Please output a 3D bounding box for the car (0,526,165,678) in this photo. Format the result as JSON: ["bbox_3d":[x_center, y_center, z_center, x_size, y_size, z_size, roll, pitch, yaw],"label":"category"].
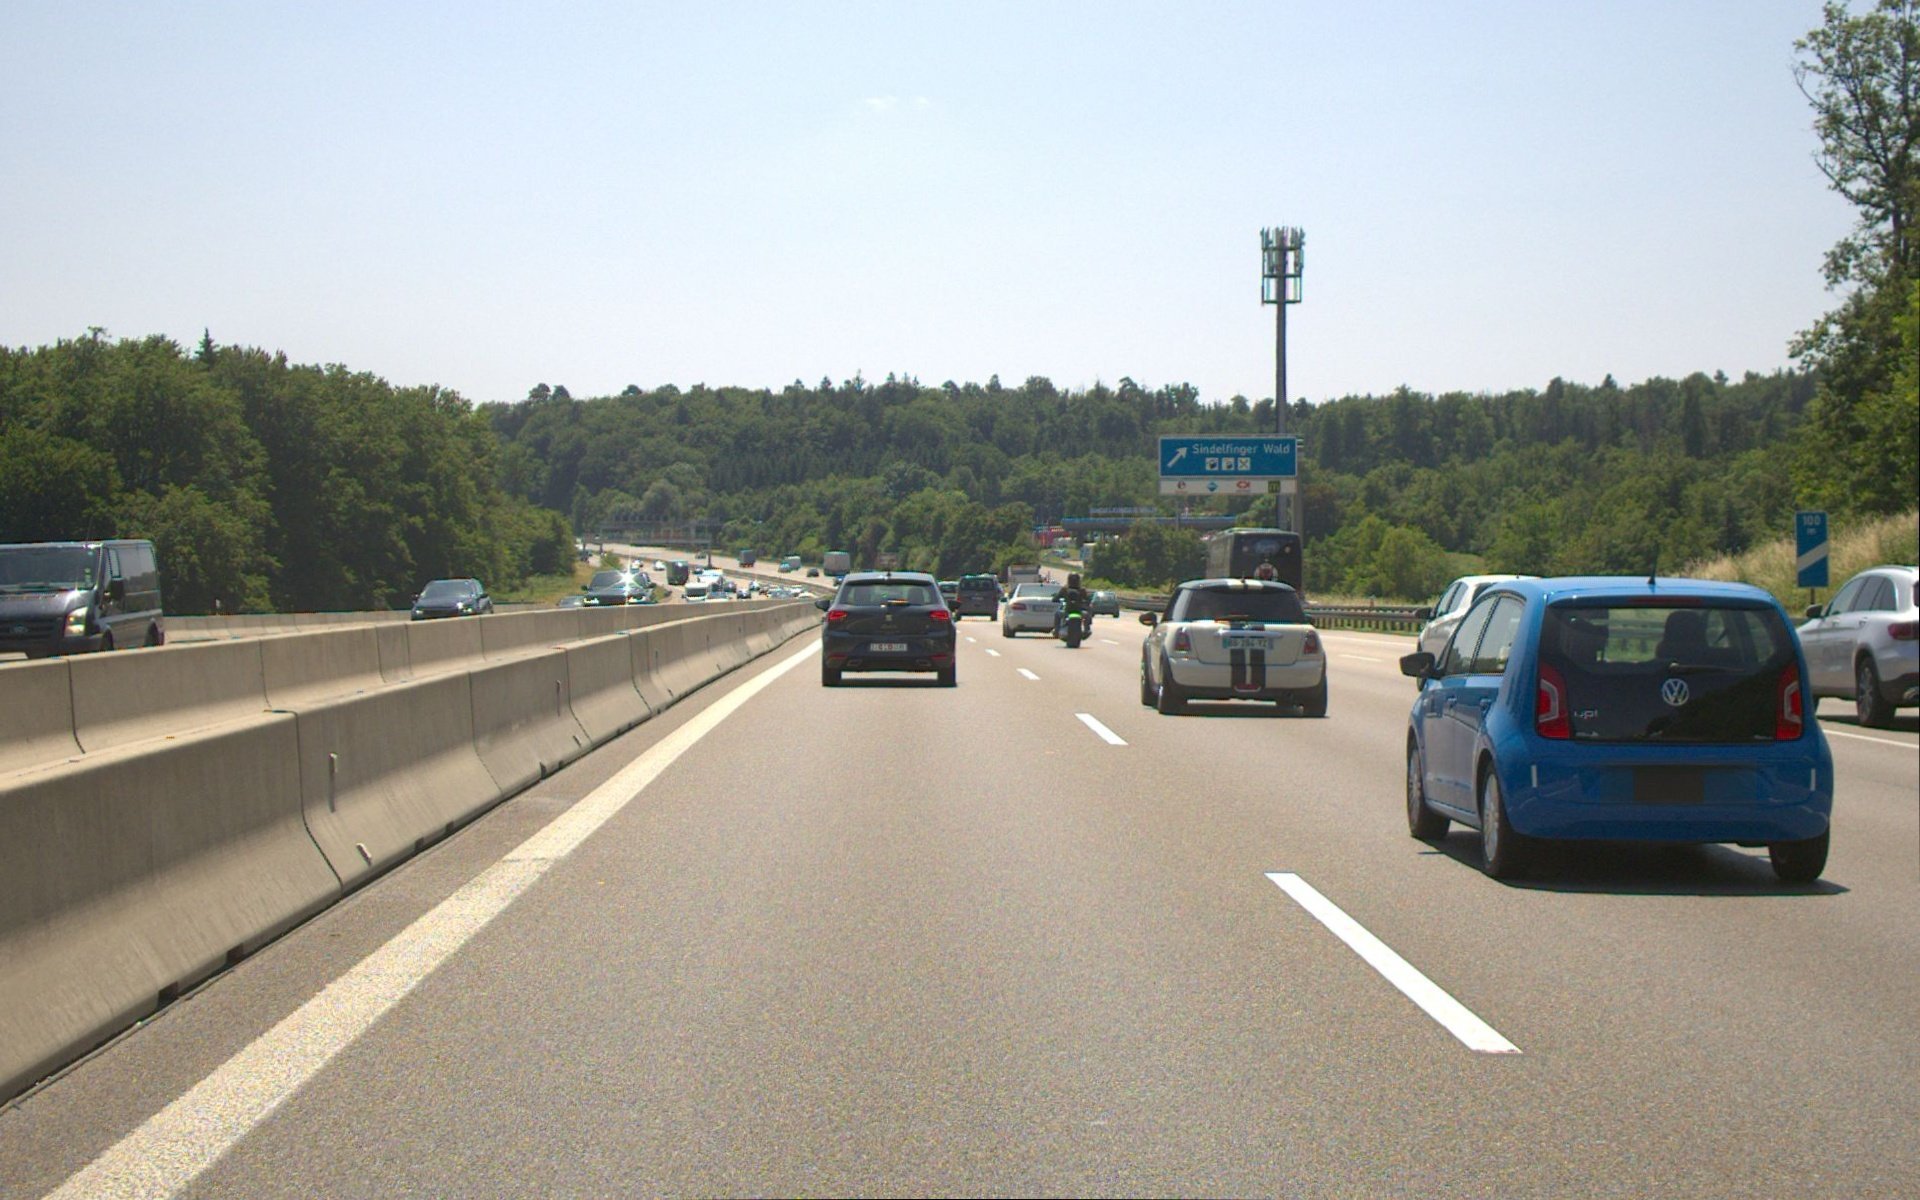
[{"bbox_3d":[-12.488,-0.013,47.782,1.993,2.007,4.813,0,1,-3],"label":"car"}]

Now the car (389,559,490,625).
[{"bbox_3d":[-14.091,-0.240,93.263,1.993,1.669,5.281,-2,1,-1],"label":"car"}]

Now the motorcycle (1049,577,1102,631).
[{"bbox_3d":[2.500,0.082,74.500,0.977,1.125,2.271,0,1,-2],"label":"motorcycle"}]

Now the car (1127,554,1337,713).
[{"bbox_3d":[2.806,0.361,36.233,1.841,1.547,4.000,1,-1,-1],"label":"car"}]

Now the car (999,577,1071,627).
[{"bbox_3d":[1.967,0.033,90.909,1.782,1.261,3.460,0,1,-1],"label":"car"}]

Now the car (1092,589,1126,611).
[{"bbox_3d":[8.456,-0.007,195.281,1.608,1.208,3.460,-1,0,-3],"label":"car"}]

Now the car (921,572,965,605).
[{"bbox_3d":[-0.925,-0.645,186.020,1.993,1.678,4.424,1,1,-5],"label":"car"}]

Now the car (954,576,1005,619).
[{"bbox_3d":[0.850,-0.134,153.791,2.097,1.845,4.081,0,1,-2],"label":"car"}]

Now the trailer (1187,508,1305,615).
[{"bbox_3d":[10.319,-1.309,125.421,2.857,3.675,13.543,-1,0,-1],"label":"trailer"}]

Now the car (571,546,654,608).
[{"bbox_3d":[-10.181,-0.689,101.058,1.993,1.667,5.281,-3,1,-1],"label":"car"}]

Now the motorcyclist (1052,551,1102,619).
[{"bbox_3d":[2.524,-0.339,74.441,0.962,1.433,1.235,-1,1,-2],"label":"motorcyclist"}]

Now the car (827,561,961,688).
[{"bbox_3d":[-0.839,0.278,44.157,1.624,1.482,3.685,1,2,-1],"label":"car"}]

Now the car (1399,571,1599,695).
[{"bbox_3d":[6.631,0.367,42.716,1.666,1.428,4.376,0,1,-2],"label":"car"}]

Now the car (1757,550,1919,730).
[{"bbox_3d":[9.973,0.368,36.232,1.801,1.725,5.240,1,1,-1],"label":"car"}]

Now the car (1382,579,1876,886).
[{"bbox_3d":[3.330,0.600,17.846,1.737,1.406,4.000,0,0,-1],"label":"car"}]
